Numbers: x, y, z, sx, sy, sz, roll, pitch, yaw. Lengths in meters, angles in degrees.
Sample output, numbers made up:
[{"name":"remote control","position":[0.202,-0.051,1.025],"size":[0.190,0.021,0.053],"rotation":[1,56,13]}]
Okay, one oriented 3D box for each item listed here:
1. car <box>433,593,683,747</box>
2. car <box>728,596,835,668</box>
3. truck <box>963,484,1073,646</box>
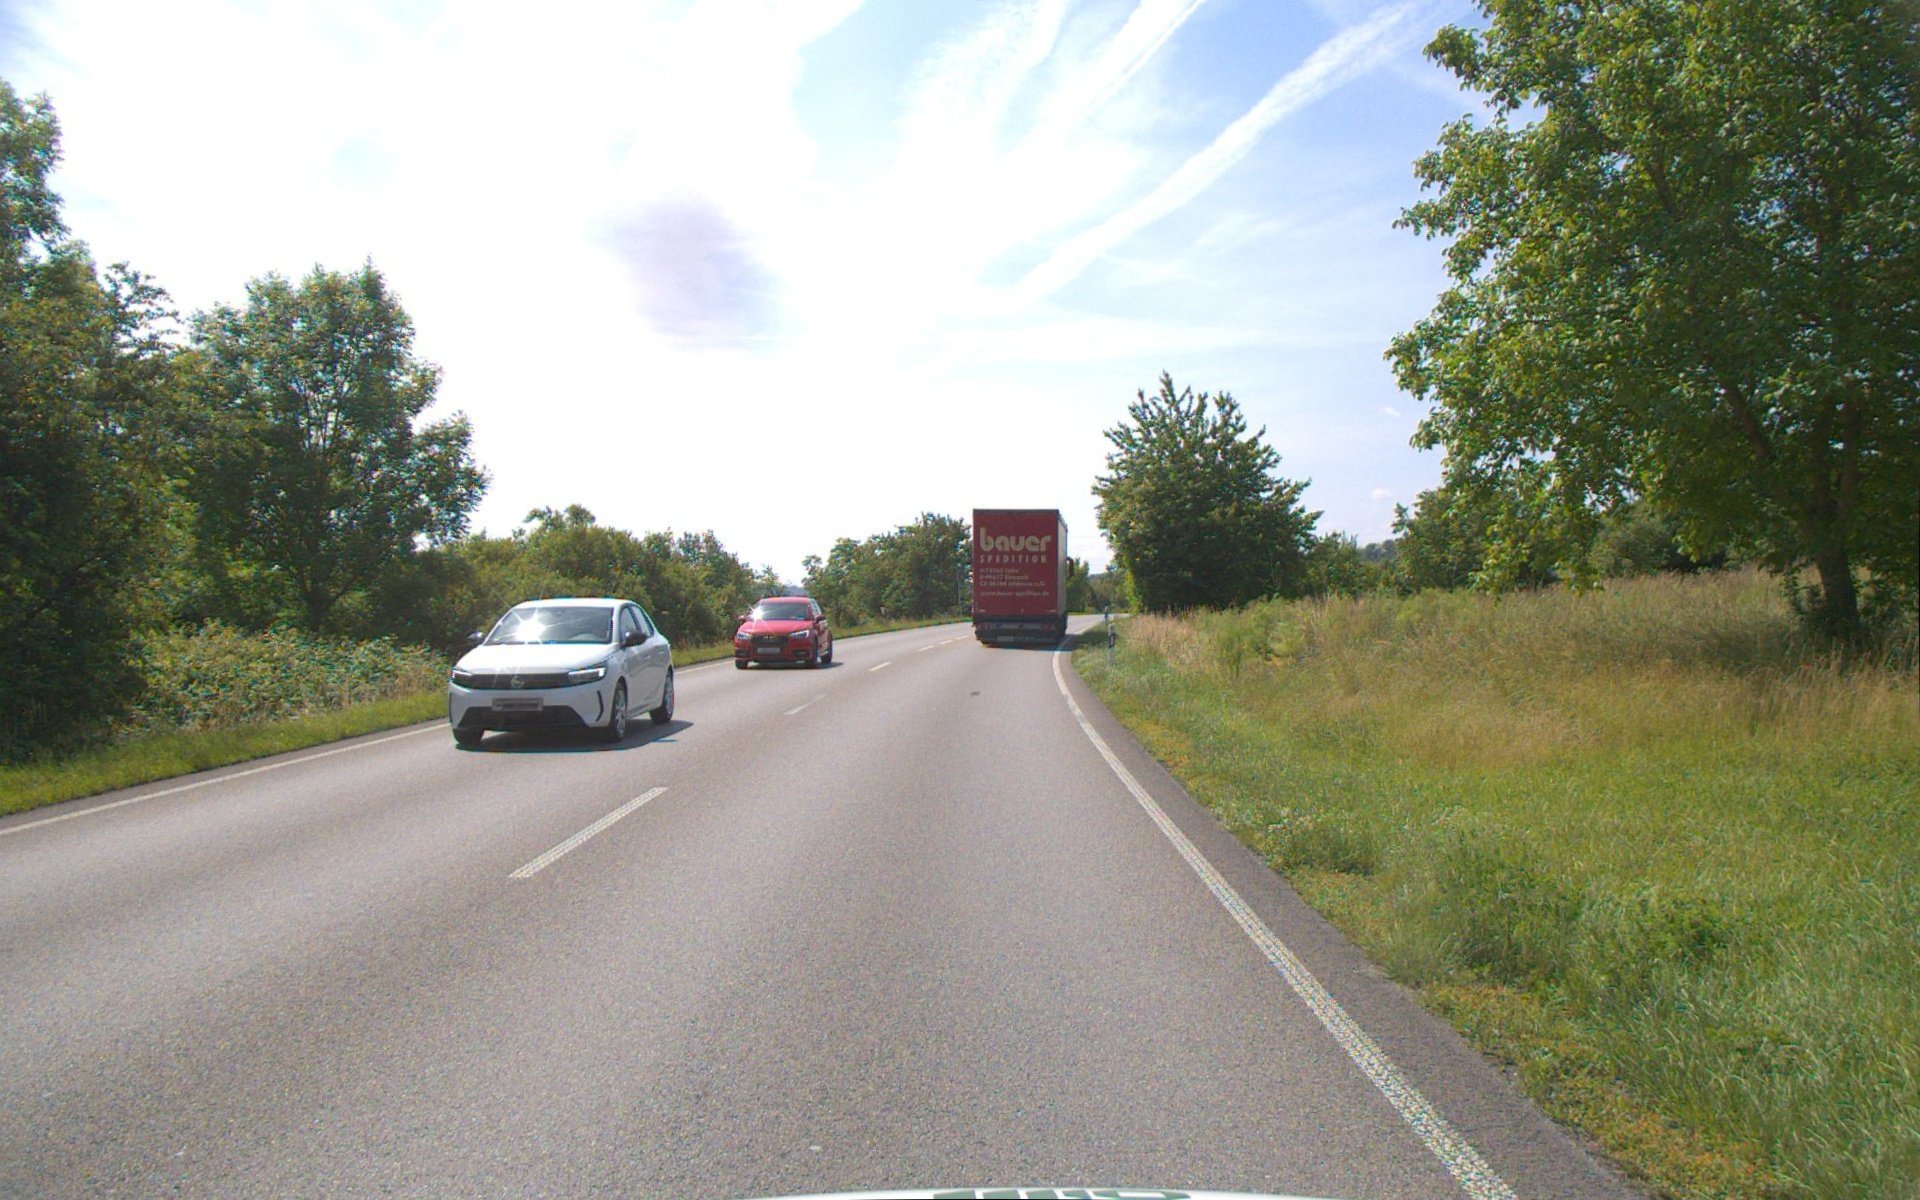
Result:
[{"name":"car","position":[-4.227,0.672,17.987],"size":[1.714,1.438,3.773],"rotation":[-1,0,1]},{"name":"car","position":[-3.743,0.638,35.248],"size":[1.783,1.422,4.183],"rotation":[0,0,1]},{"name":"truck","position":[2.084,-0.924,53.447],"size":[3.047,4.585,12.173],"rotation":[1,-1,4]}]
